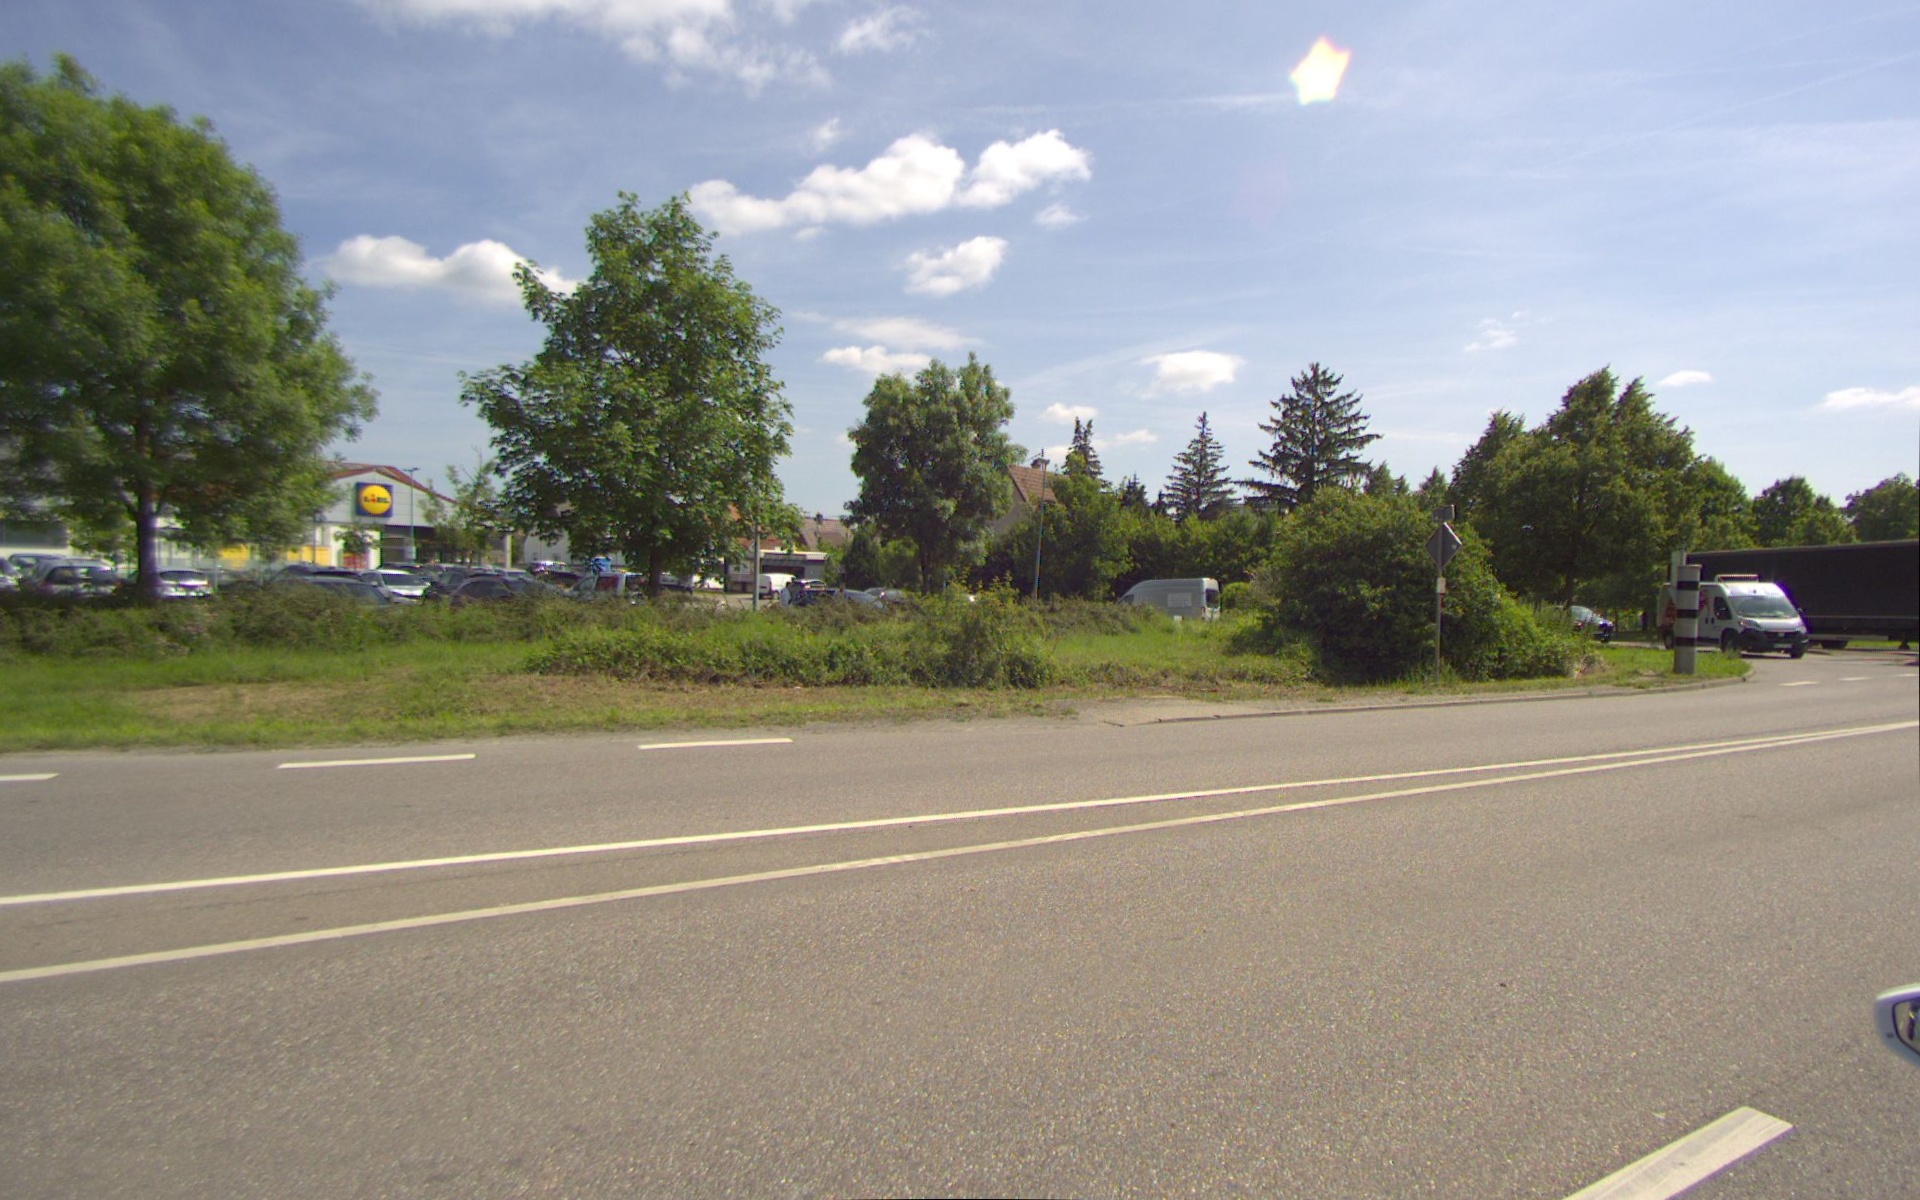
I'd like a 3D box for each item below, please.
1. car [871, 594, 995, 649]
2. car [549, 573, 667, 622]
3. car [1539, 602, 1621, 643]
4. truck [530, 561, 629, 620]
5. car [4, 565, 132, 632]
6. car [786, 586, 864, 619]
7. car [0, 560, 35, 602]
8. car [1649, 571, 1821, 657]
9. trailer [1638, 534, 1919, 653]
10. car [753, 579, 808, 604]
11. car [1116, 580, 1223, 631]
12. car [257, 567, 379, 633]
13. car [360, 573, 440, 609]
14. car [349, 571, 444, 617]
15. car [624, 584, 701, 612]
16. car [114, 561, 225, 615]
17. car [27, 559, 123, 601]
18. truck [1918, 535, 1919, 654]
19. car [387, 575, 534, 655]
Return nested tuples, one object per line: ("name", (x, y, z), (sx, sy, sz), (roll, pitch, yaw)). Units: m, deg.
("car", (-0.965, 0.744, 35.766), (3.928, 1.751, 1.996), (2, 0, 30))
("car", (-13.188, -0.091, 37.557), (4.354, 1.717, 1.994), (1, 0, 34))
("car", (28.438, 1.008, 46.219), (1.834, 1.773, 4.113), (2, 0, 11))
("truck", (-16.173, -0.412, 42.611), (3.933, 2.397, 1.994), (2, 0, 34))
("car", (-22.763, -0.070, 25.584), (4.082, 1.522, 1.775), (3, 1, 39))
("car", (-7.322, 0.156, 54.641), (1.883, 1.662, 3.984), (2, 0, 38))
("car", (-35.294, -0.734, 36.332), (3.933, 1.461, 1.880), (2, 1, 35))
("car", (26.432, 0.409, 34.605), (2.081, 2.690, 5.989), (0, 0, 9))
("trailer", (33.745, -0.269, 39.757), (2.748, 4.116, 13.704), (0, 1, -10))
("car", (-13.739, -0.646, 77.088), (1.867, 1.782, 3.987), (2, 0, 35))
("car", (9.864, 0.214, 47.472), (4.525, 2.209, 1.992), (2, 1, 38))
("car", (-18.740, -0.036, 29.273), (3.940, 1.697, 1.903), (3, 1, 40))
("car", (-26.198, -0.450, 46.941), (4.194, 1.562, 1.871), (2, 0, 40))
("car", (-20.392, -0.216, 36.283), (3.941, 1.549, 1.770), (2, 0, 42))
("car", (-18.233, -0.095, 61.683), (1.850, 1.562, 4.242), (2, 0, 37))
("car", (-24.380, -0.381, 30.930), (3.937, 1.549, 1.772), (2, 0, 38))
("car", (-33.860, -0.770, 38.405), (3.933, 1.461, 1.880), (2, 1, 35))
("truck", (35.151, -0.154, 32.225), (2.750, 4.116, 5.829), (0, 1, -13))
("car", (-11.541, 0.298, 23.112), (3.942, 1.679, 1.685), (2, 0, 42))
